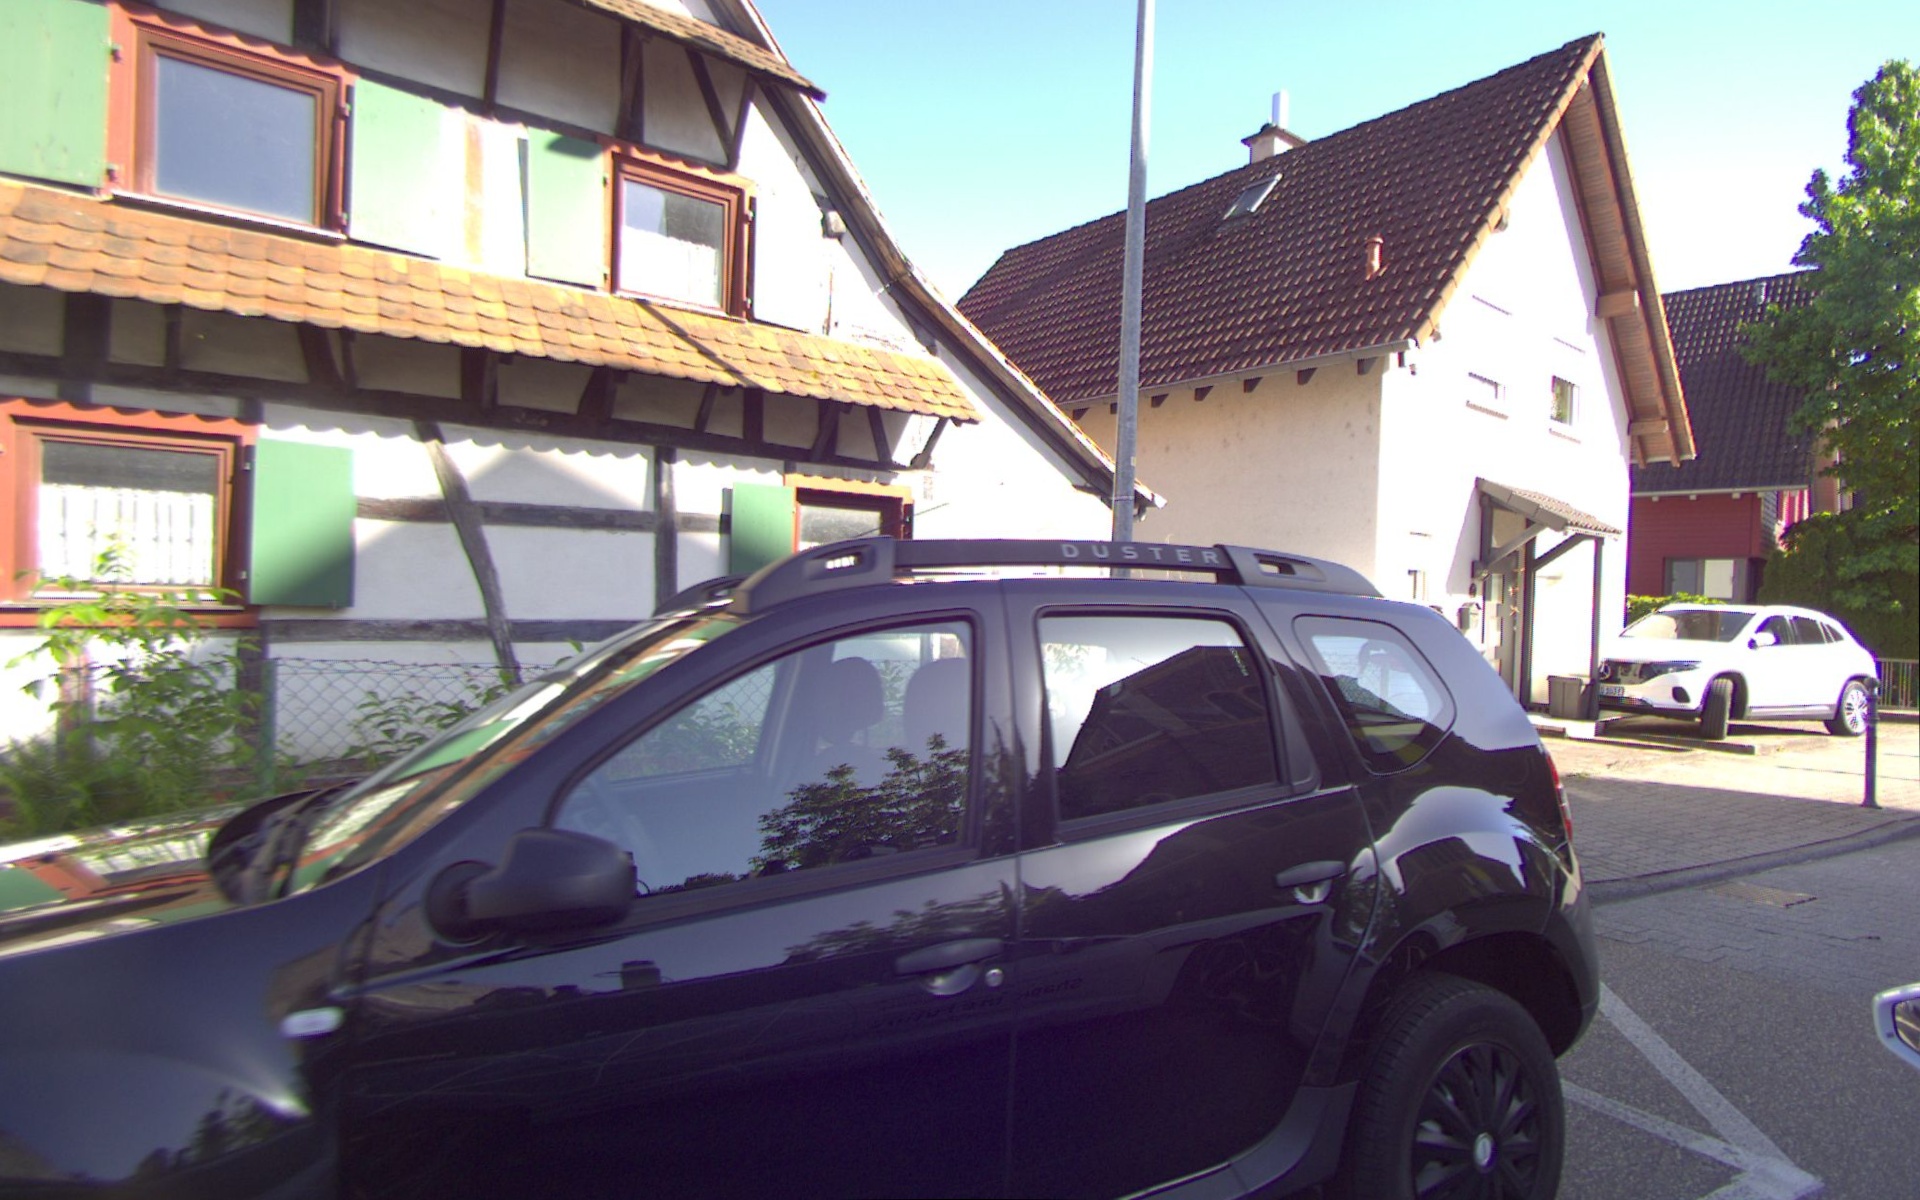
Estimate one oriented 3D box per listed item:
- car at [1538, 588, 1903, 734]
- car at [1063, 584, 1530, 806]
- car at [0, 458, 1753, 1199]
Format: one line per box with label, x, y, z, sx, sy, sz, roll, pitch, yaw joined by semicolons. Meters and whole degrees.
car;9.914;0.755;13.086;4.382;1.617;1.813;2;1;-23
car;3.172;0.743;10.087;1.984;1.610;3.952;1;2;-40
car;-0.273;0.778;2.429;4.297;1.693;1.826;3;-3;-27
